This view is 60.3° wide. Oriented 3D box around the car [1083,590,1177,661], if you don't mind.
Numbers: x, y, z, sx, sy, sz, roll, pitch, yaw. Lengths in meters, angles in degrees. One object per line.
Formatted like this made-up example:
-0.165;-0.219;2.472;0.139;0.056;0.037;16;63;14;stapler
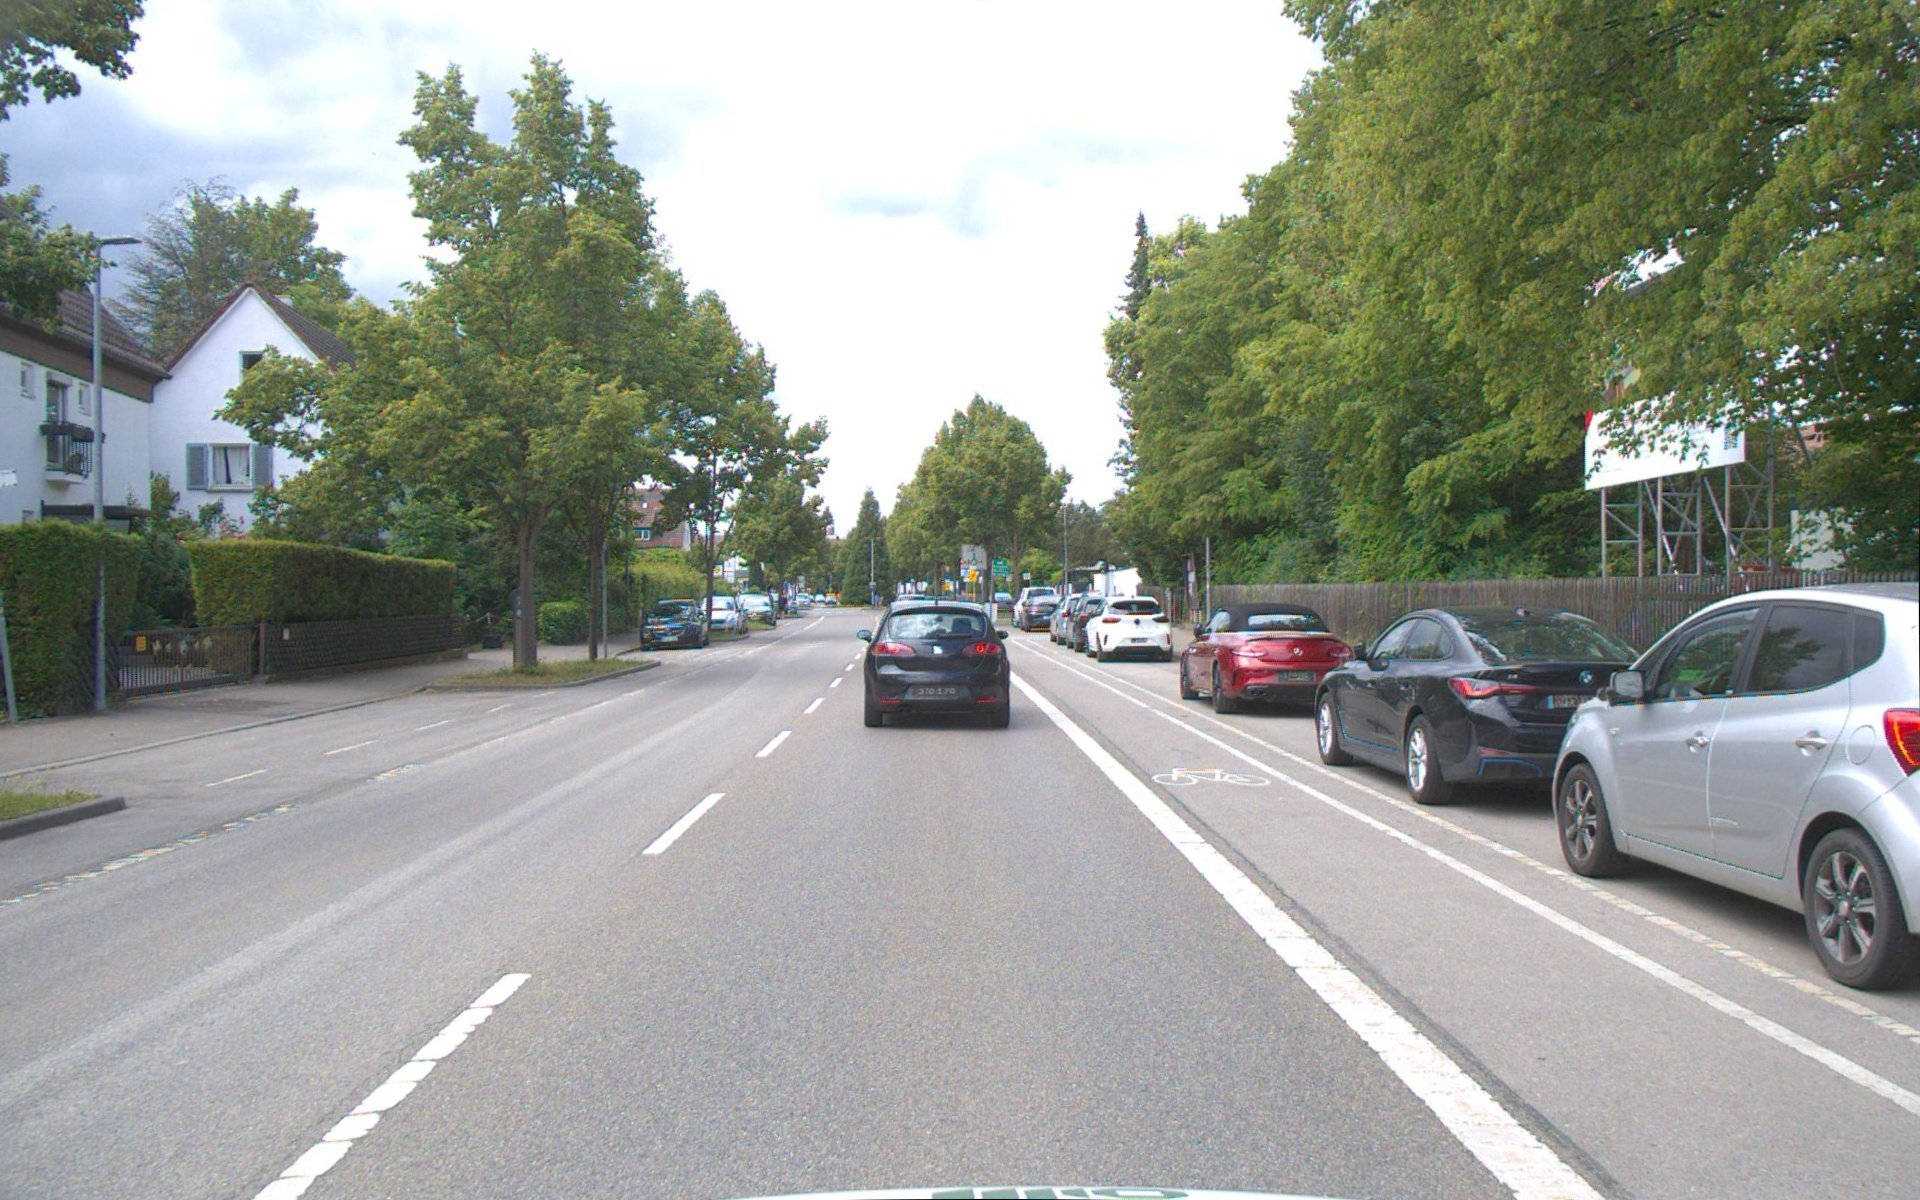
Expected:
3.906;0.574;38.631;1.732;1.537;4.030;-1;0;-1;car

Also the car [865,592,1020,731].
-0.212;0.680;20.376;1.697;1.512;3.999;1;0;-1;car

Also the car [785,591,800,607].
-22.736;-0.141;224.680;1.991;2.005;3.995;-2;0;-6;car

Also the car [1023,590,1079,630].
3.424;0.365;63.023;1.825;1.441;4.602;0;0;-1;car

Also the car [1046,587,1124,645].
3.706;0.469;49.599;1.824;1.639;4.684;0;0;-2;car

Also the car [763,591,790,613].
-14.367;0.133;129.443;1.823;1.682;4.292;-1;0;-3;car

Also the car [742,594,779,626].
-10.153;0.493;84.239;1.644;1.579;4.268;-1;0;-5;car

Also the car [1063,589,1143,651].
3.771;0.503;44.181;1.667;1.536;4.537;0;1;-1;car

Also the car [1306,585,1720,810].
4.326;0.684;13.801;1.779;1.541;4.678;1;0;-2;car

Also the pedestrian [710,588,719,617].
-15.848;0.159;106.663;0.493;1.837;0.671;-1;0;-3;pedestrian

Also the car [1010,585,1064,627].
3.200;0.254;69.415;1.863;1.671;4.114;-1;0;-3;car

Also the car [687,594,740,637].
-9.840;0.595;66.191;1.684;1.641;3.907;-2;0;-3;car

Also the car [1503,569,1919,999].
4.426;0.680;8.224;1.825;1.617;4.419;0;0;-3;car

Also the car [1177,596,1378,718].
4.277;0.712;22.955;1.821;1.438;4.442;1;1;-1;car

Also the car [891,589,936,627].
-2.121;0.356;74.615;1.953;1.641;3.998;-1;0;-2;car

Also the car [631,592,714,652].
-8.968;0.636;51.892;2.054;1.675;5.034;-2;1;-5;car

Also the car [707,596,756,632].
-10.228;0.611;74.440;1.955;1.511;4.884;-2;0;-6;car

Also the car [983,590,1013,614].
2.443;0.139;106.254;1.579;1.401;4.384;-1;-1;-3;car

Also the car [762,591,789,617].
-12.646;0.264;113.567;1.690;1.755;4.560;-1;0;-5;car

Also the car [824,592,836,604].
-19.262;-0.330;245.441;1.537;1.662;3.620;-1;0;-2;car

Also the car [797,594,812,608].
-19.412;0.119;207.058;1.762;1.629;3.997;-2;0;-4;car
